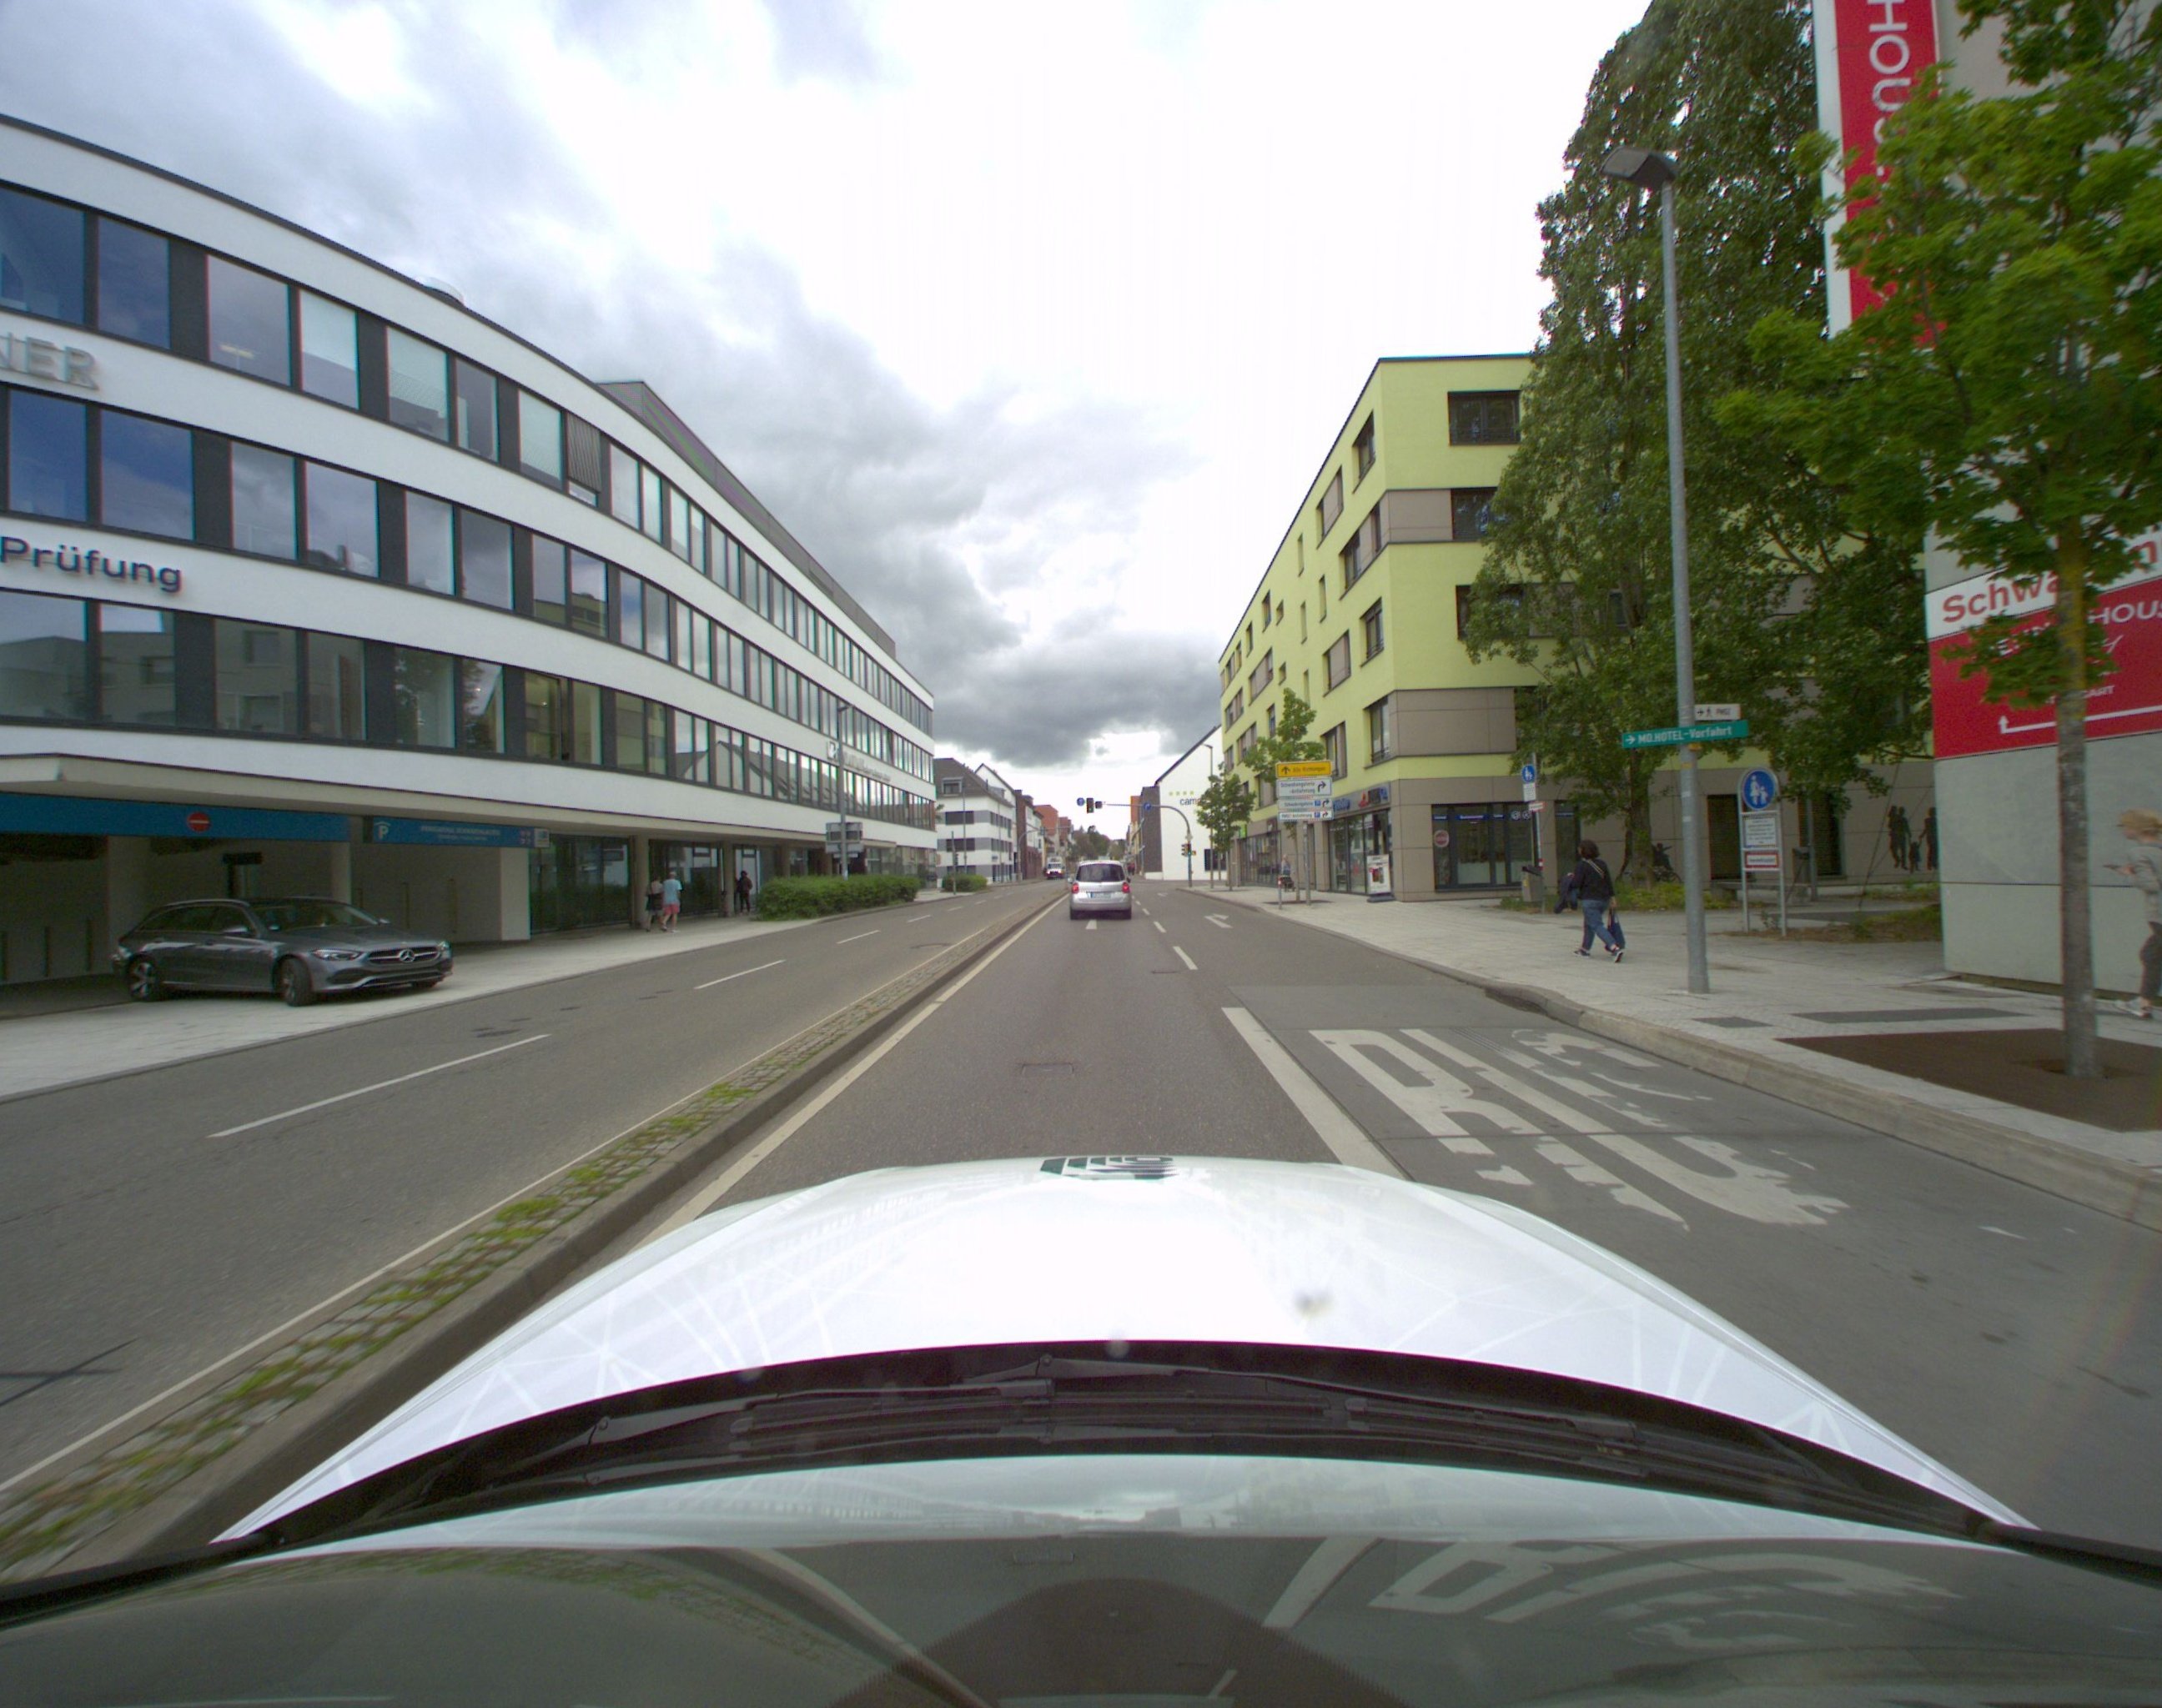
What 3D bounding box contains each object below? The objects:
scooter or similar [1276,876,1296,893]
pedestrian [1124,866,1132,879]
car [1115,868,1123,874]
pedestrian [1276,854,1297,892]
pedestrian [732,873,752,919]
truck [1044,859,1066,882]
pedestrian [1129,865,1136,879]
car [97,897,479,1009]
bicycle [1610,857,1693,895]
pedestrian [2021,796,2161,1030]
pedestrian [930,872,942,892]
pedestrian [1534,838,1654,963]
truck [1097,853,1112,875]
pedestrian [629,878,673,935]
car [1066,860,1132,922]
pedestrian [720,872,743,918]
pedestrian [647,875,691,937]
[{"bbox_3d":[8.652,1.298,34.372,0.590,0.673,0.824,-3,-1,1],"label":"scooter or similar"},{"bbox_3d":[6.284,2.467,108.984,0.886,1.787,0.785,-4,-1,2],"label":"pedestrian"},{"bbox_3d":[9.794,4.403,209.962,1.805,1.354,4.002,-2,-1,2],"label":"car"},{"bbox_3d":[8.865,0.826,35.096,0.693,1.593,0.603,-3,-1,1],"label":"pedestrian"},{"bbox_3d":[-12.913,1.580,31.016,0.617,1.710,0.501,-1,-2,-29],"label":"pedestrian"},{"bbox_3d":[-3.459,2.182,110.287,2.426,2.954,8.367,-1,-1,2],"label":"truck"},{"bbox_3d":[6.451,2.252,101.977,0.804,1.787,0.861,-4,-1,2],"label":"pedestrian"},{"bbox_3d":[-11.686,1.407,12.125,4.426,1.415,1.909,-1,-1,12],"label":"car"},{"bbox_3d":[15.997,0.613,22.855,1.869,1.000,0.543,-1,-1,6],"label":"bicycle"},{"bbox_3d":[7.721,0.394,5.878,0.865,1.583,0.804,-2,-1,1],"label":"pedestrian"},{"bbox_3d":[-12.374,2.365,69.602,0.881,1.669,0.812,-2,1,-7],"label":"pedestrian"},{"bbox_3d":[6.931,0.613,11.060,0.944,1.583,1.016,-2,-1,1],"label":"pedestrian"},{"bbox_3d":[4.400,1.865,150.863,2.585,3.858,6.852,-1,-1,2],"label":"truck"},{"bbox_3d":[-12.475,1.500,23.659,0.727,1.613,0.932,0,-1,4],"label":"pedestrian"},{"bbox_3d":[0.530,0.987,23.051,1.700,1.579,4.001,0,-1,2],"label":"car"},{"bbox_3d":[-13.539,1.592,31.518,0.500,1.730,0.619,-3,-2,33],"label":"pedestrian"},{"bbox_3d":[-11.548,1.440,22.858,0.727,1.674,0.932,0,-1,4],"label":"pedestrian"}]
